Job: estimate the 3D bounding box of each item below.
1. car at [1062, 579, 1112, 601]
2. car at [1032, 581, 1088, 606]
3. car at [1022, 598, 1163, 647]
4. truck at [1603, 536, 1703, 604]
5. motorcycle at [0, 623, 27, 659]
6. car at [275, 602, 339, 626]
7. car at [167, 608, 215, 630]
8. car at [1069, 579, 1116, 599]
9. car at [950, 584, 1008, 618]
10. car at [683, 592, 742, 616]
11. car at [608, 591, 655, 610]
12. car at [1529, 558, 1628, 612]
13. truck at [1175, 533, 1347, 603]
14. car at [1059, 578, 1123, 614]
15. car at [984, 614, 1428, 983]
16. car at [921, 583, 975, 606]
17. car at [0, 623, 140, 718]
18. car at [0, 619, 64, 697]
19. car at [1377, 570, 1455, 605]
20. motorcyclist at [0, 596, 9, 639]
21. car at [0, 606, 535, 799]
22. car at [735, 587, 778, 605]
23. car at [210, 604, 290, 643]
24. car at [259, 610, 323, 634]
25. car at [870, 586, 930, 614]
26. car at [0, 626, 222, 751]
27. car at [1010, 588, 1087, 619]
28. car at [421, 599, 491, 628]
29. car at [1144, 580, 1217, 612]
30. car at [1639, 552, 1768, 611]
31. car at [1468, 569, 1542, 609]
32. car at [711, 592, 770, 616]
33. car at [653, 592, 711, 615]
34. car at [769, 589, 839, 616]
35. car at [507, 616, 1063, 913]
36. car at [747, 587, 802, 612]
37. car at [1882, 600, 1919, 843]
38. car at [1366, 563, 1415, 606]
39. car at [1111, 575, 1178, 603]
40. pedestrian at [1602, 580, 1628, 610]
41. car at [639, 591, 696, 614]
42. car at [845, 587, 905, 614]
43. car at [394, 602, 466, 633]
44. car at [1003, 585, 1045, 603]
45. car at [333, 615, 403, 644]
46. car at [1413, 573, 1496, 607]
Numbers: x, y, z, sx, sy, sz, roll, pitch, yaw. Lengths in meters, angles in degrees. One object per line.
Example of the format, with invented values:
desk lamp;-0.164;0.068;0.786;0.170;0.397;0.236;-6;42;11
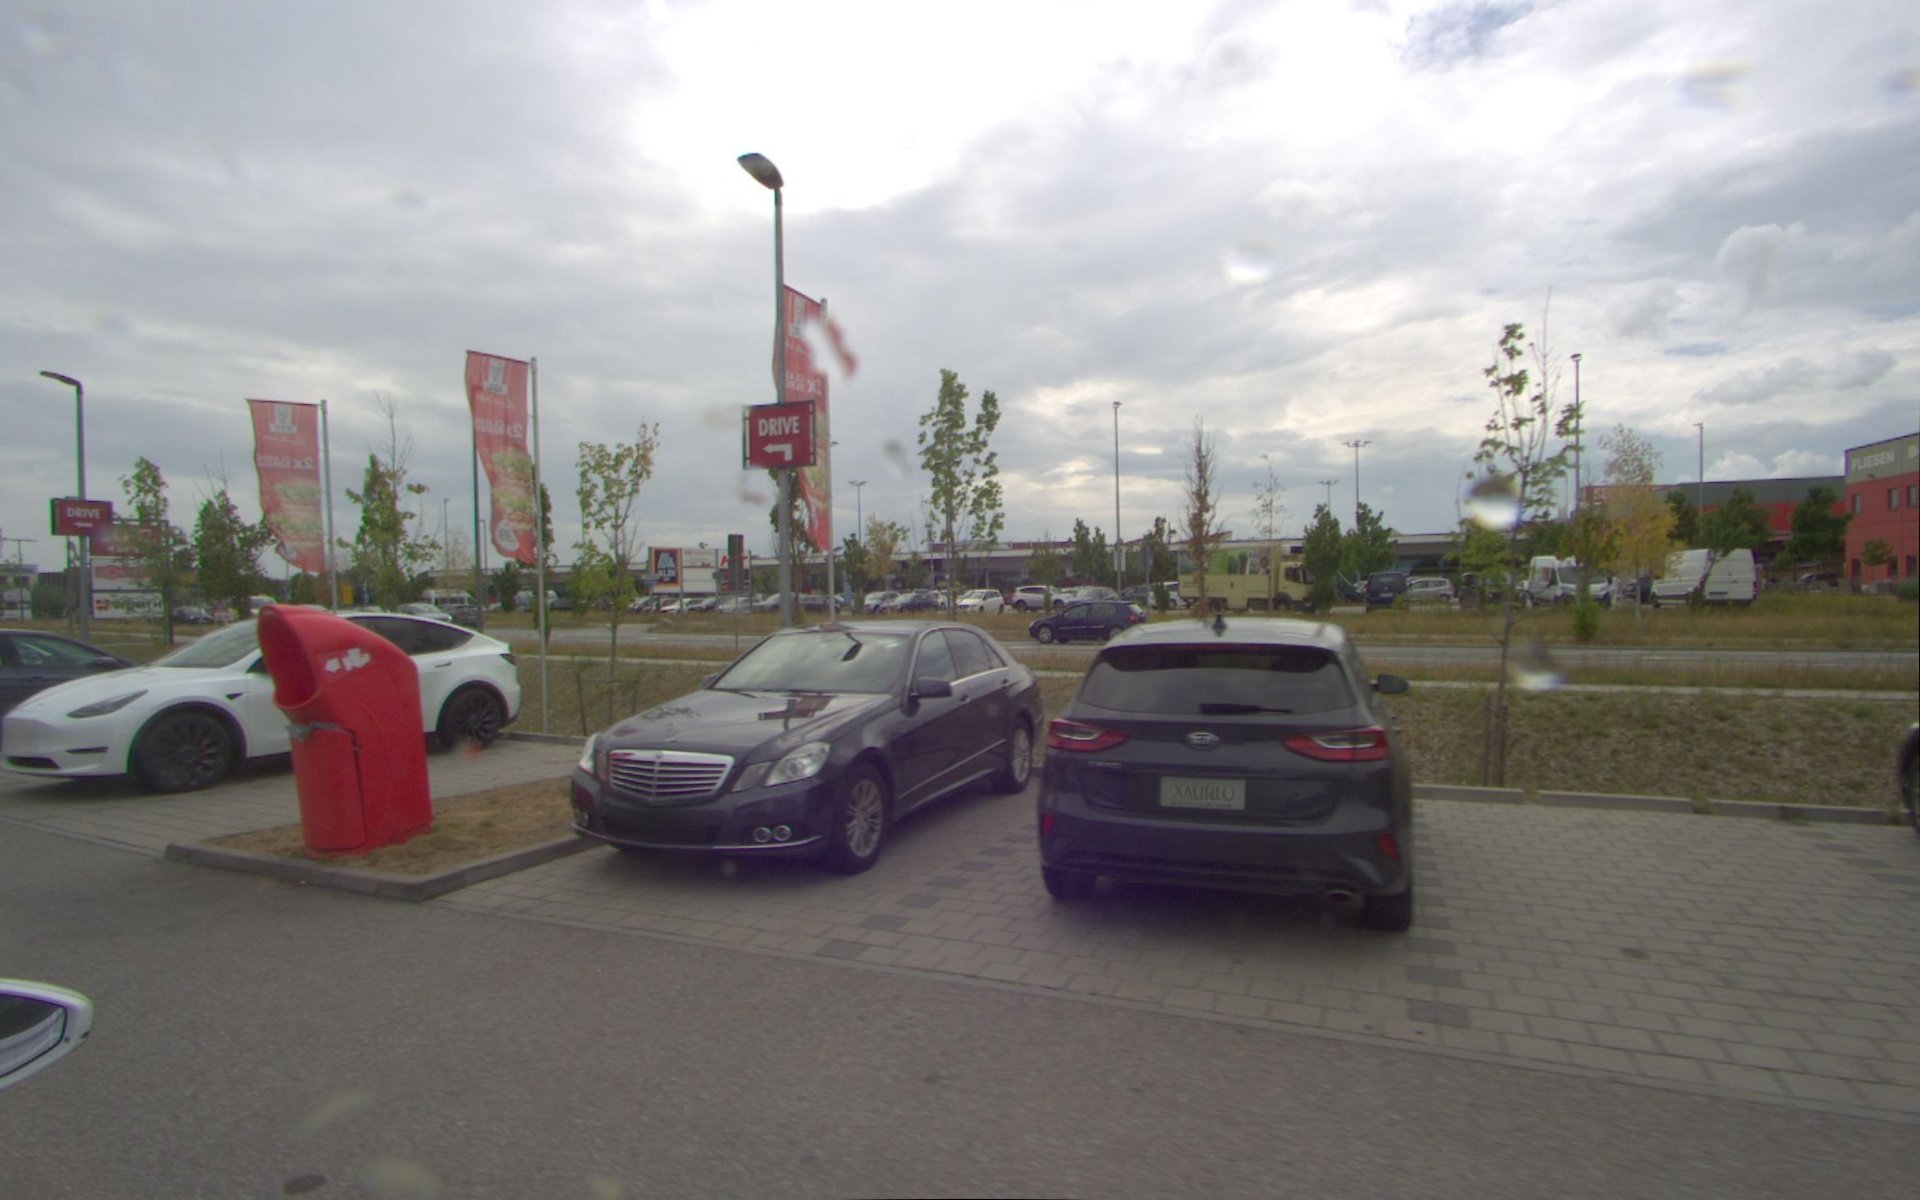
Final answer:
car;11.615;-0.933;91.375;4.114;1.863;1.994;0;2;21
car;8.059;-0.520;80.603;4.114;1.863;1.994;0;2;21
car;4.510;0.752;34.126;4.350;1.506;1.922;-1;2;26
truck;42.429;-1.860;61.604;2.609;3.795;8.238;-1;2;17
motorcycle;-34.132;1.470;35.101;0.783;1.224;1.913;-1;1;28
car;-46.185;0.974;70.834;4.781;1.573;1.793;0;2;30
car;-48.617;1.199;63.265;3.119;1.355;1.457;0;1;34
car;12.737;-1.036;96.457;4.114;1.863;1.994;0;2;21
car;1.166;0.053;58.910;1.966;1.796;4.306;-1;2;23
car;-18.096;0.274;73.368;1.969;1.561;4.036;0;2;28
car;-33.277;0.051;101.431;4.110;1.863;1.996;-1;2;16
car;27.552;-0.715;44.878;2.373;2.245;6.045;0;2;18
truck;14.980;-1.580;50.584;2.988;3.240;8.376;-3;2;-34
car;7.193;-0.238;54.532;1.903;1.796;4.297;0;2;31
car;1.740;0.819;6.134;1.856;1.430;4.061;0;-1;23
car;-0.870;-0.393;75.159;1.974;1.561;4.131;0;2;36
car;-15.504;1.079;15.555;1.813;1.430;3.920;0;-1;32
car;-19.275;1.081;18.374;1.704;1.447;3.976;0;-1;35
car;27.593;-0.766;60.664;3.924;2.041;1.997;-1;2;11
motorcyclist;-34.138;0.617;35.083;0.818;1.509;0.937;-1;1;28
car;-7.003;0.879;10.539;1.895;1.561;4.530;0;-1;27
car;-21.695;-0.417;106.711;4.115;1.863;1.994;0;2;22
car;-41.231;1.302;58.119;5.155;2.115;1.988;0;2;33
car;-41.582;1.368;62.224;4.158;1.413;1.759;0;1;32
car;-3.656;0.005;61.625;1.746;1.561;4.033;0;2;31
car;-11.671;1.046;12.359;1.713;1.430;3.790;0;-1;31
car;5.419;0.240;61.437;4.256;1.796;1.912;0;2;30
car;-29.322;0.758;58.181;4.795;1.573;1.788;0;3;39
car;13.420;-0.249;61.041;3.924;1.796;1.998;-2;2;-8
car;31.902;-0.847;43.276;2.303;2.299;6.493;-1;2;16
car;24.713;-0.549;45.571;2.040;1.661;5.058;0;2;18
car;-15.666;0.258;71.734;1.969;1.561;4.036;0;2;28
car;-20.897;0.267;75.392;1.838;1.522;4.050;0;2;32
car;-10.064;0.154;64.776;1.976;1.561;4.125;0;3;40
car;-0.819;0.873;7.542;1.879;1.475;4.730;0;-1;23
car;-12.841;-0.040;69.486;1.745;1.561;3.746;0;2;28
car;6.138;0.699;4.063;1.913;1.485;4.508;0;-1;20
car;20.591;-0.714;47.861;2.043;1.910;5.054;0;1;24
car;12.624;-0.765;68.506;4.244;1.796;1.995;-1;2;19
pedestrian;32.779;-0.242;50.116;0.961;1.449;0.785;-1;3;21
car;-22.565;0.166;77.326;1.878;1.561;4.036;0;2;28
car;-5.316;0.000;63.288;1.746;1.561;4.033;0;2;31
car;-27.744;0.881;52.373;3.950;1.480;1.816;0;2;38
car;6.936;-0.642;108.527;4.114;1.863;1.994;0;2;21
car;-33.484;1.642;56.631;4.228;1.519;1.844;0;1;36
car;27.648;-0.573;56.160;3.929;1.762;1.886;-1;2;18
